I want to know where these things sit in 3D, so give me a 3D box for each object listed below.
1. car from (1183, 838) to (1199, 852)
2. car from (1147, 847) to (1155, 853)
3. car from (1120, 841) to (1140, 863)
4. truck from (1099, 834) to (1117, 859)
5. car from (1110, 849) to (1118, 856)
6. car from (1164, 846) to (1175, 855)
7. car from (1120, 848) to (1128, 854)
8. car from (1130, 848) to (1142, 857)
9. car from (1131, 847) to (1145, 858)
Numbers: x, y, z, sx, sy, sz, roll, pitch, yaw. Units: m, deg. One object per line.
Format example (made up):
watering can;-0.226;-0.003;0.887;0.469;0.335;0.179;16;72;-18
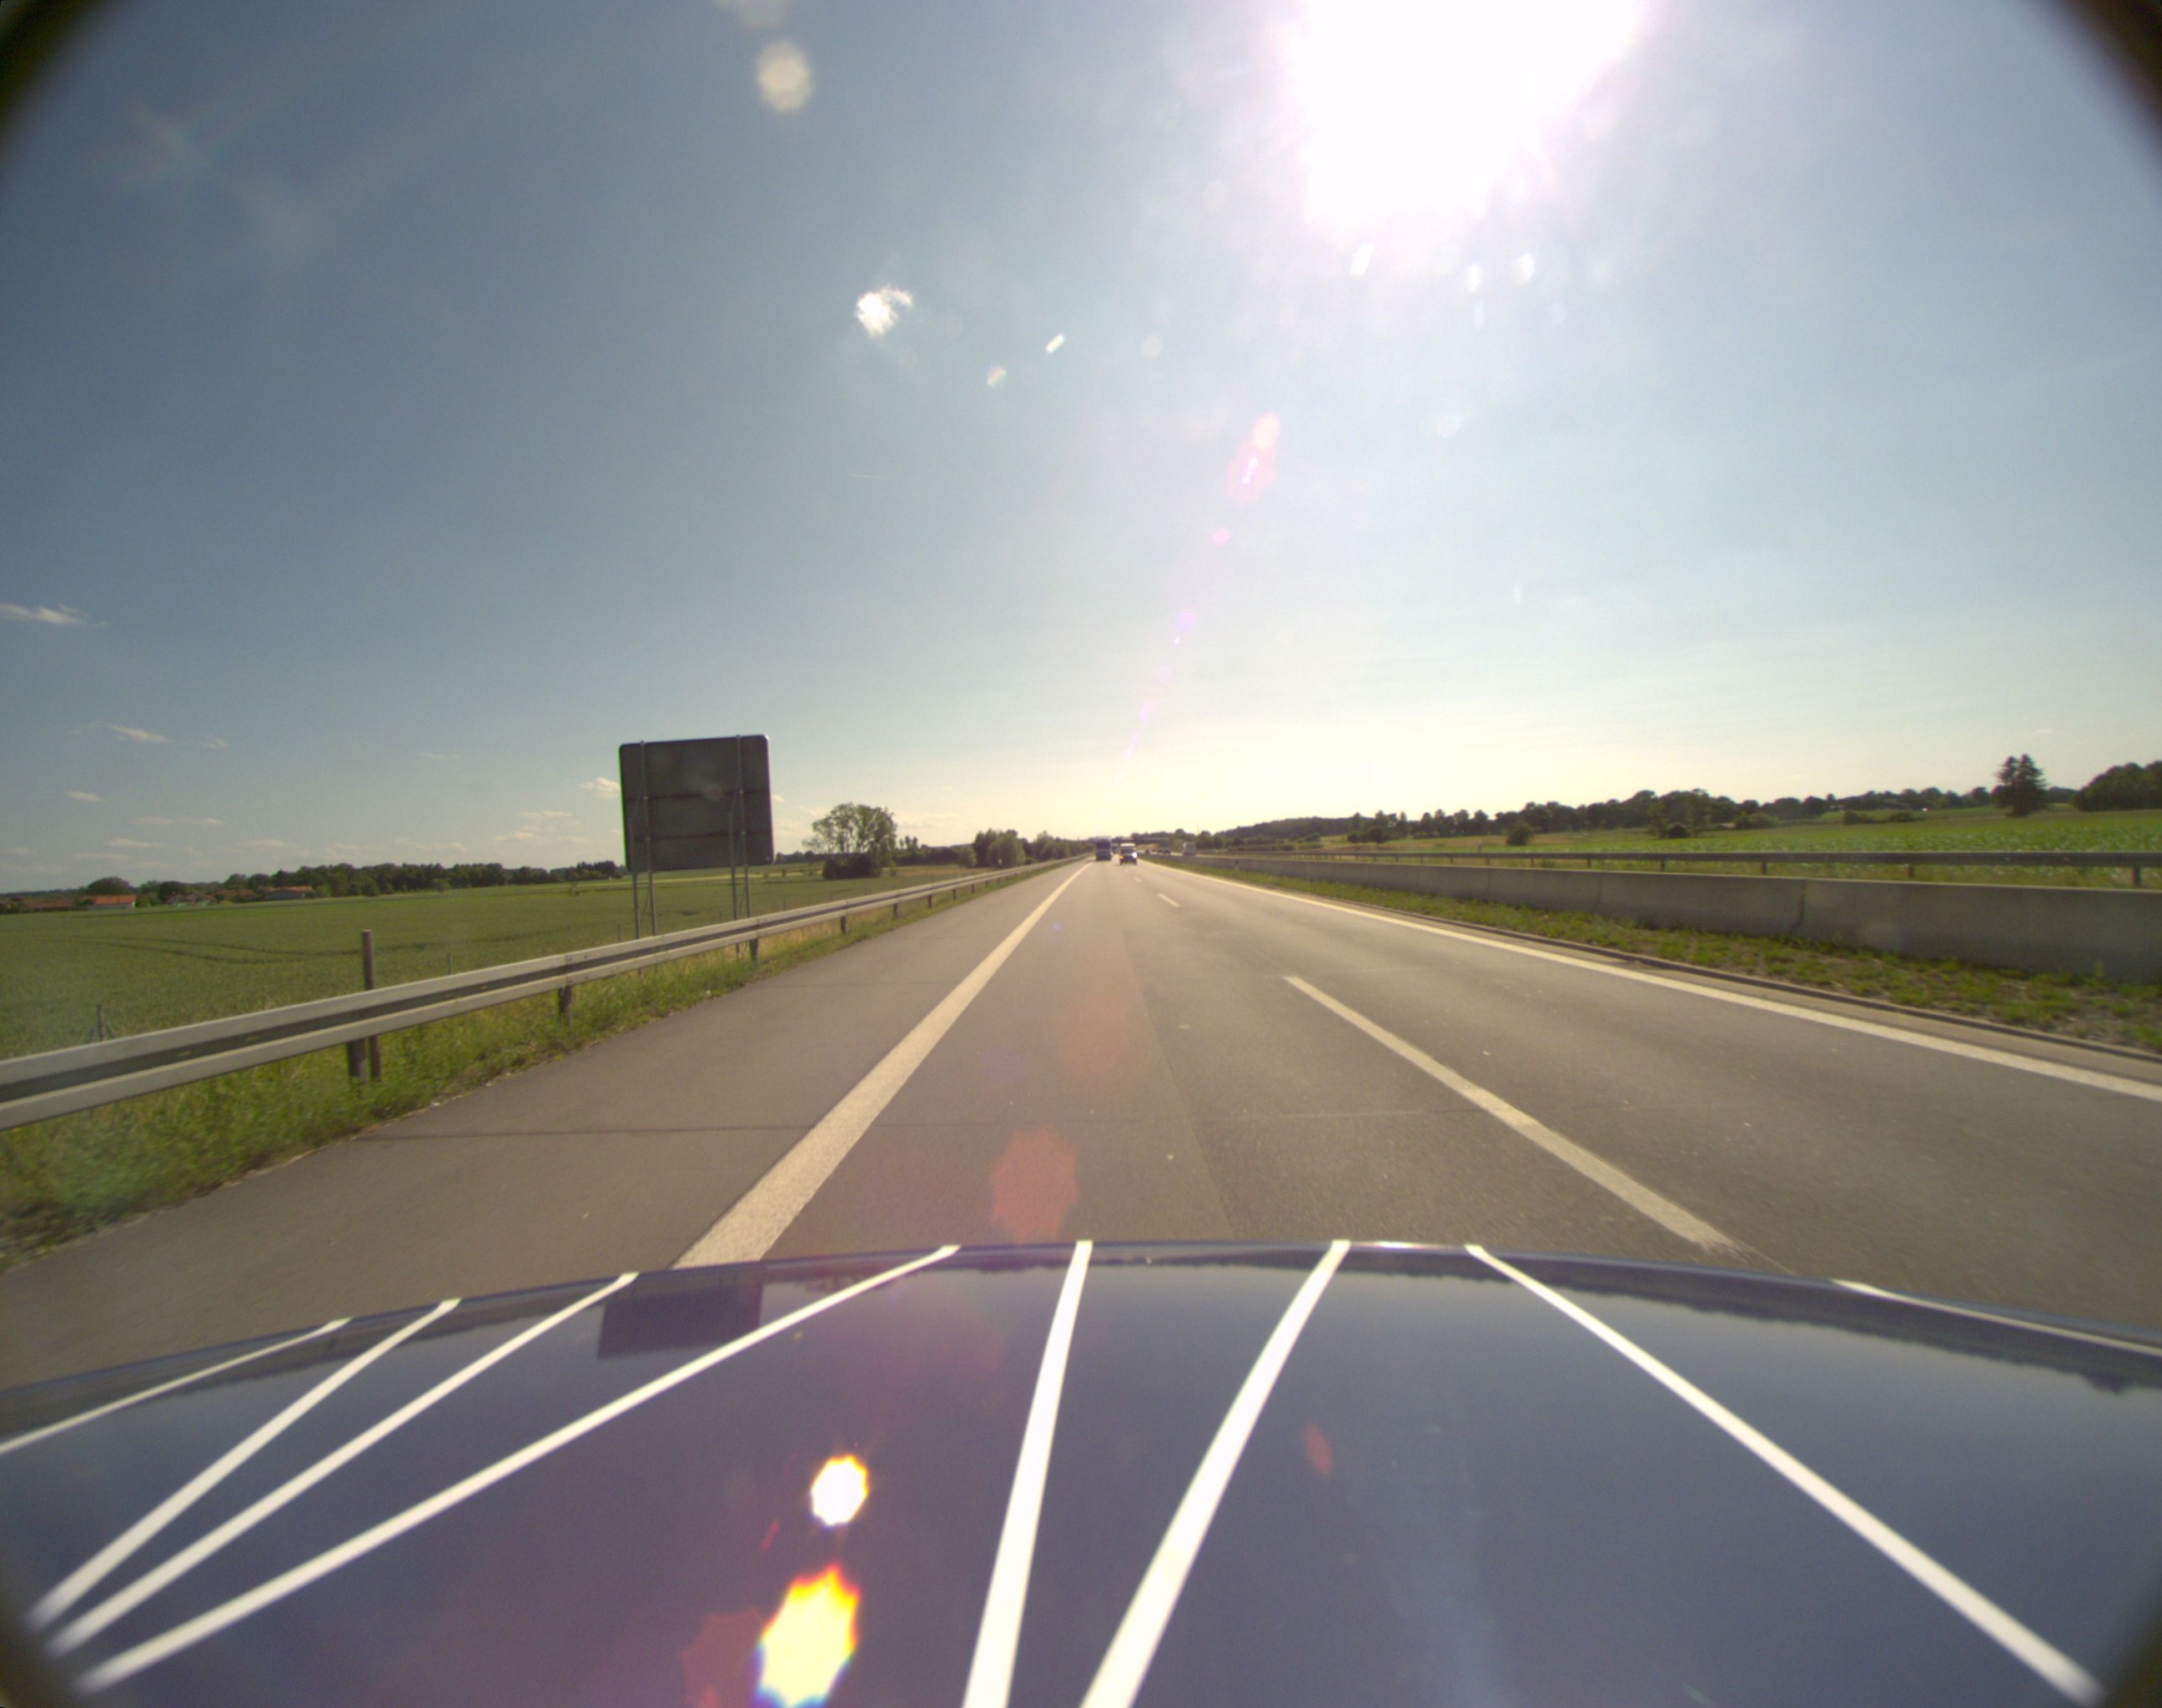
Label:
car;19.621;-1.576;135.780;2.392;2.543;5.455;-1;0;3
car;22.236;-1.269;242.184;2.392;1.929;5.455;-1;0;3
car;5.422;-0.236;84.978;2.030;2.225;4.819;-2;0;3
truck;4.537;-1.281;126.863;2.762;3.792;7.518;-3;1;3
car;8.273;-0.313;190.525;2.030;1.600;4.819;-1;0;2
car;22.559;-0.977;193.652;2.392;2.230;5.455;-1;0;3
car;11.569;-0.697;203.970;2.030;1.600;4.819;-1;0;2
car;10.618;-0.256;146.305;2.030;1.600;4.819;-1;0;2
car;8.804;-0.282;118.097;2.030;1.600;4.819;-1;0;2
